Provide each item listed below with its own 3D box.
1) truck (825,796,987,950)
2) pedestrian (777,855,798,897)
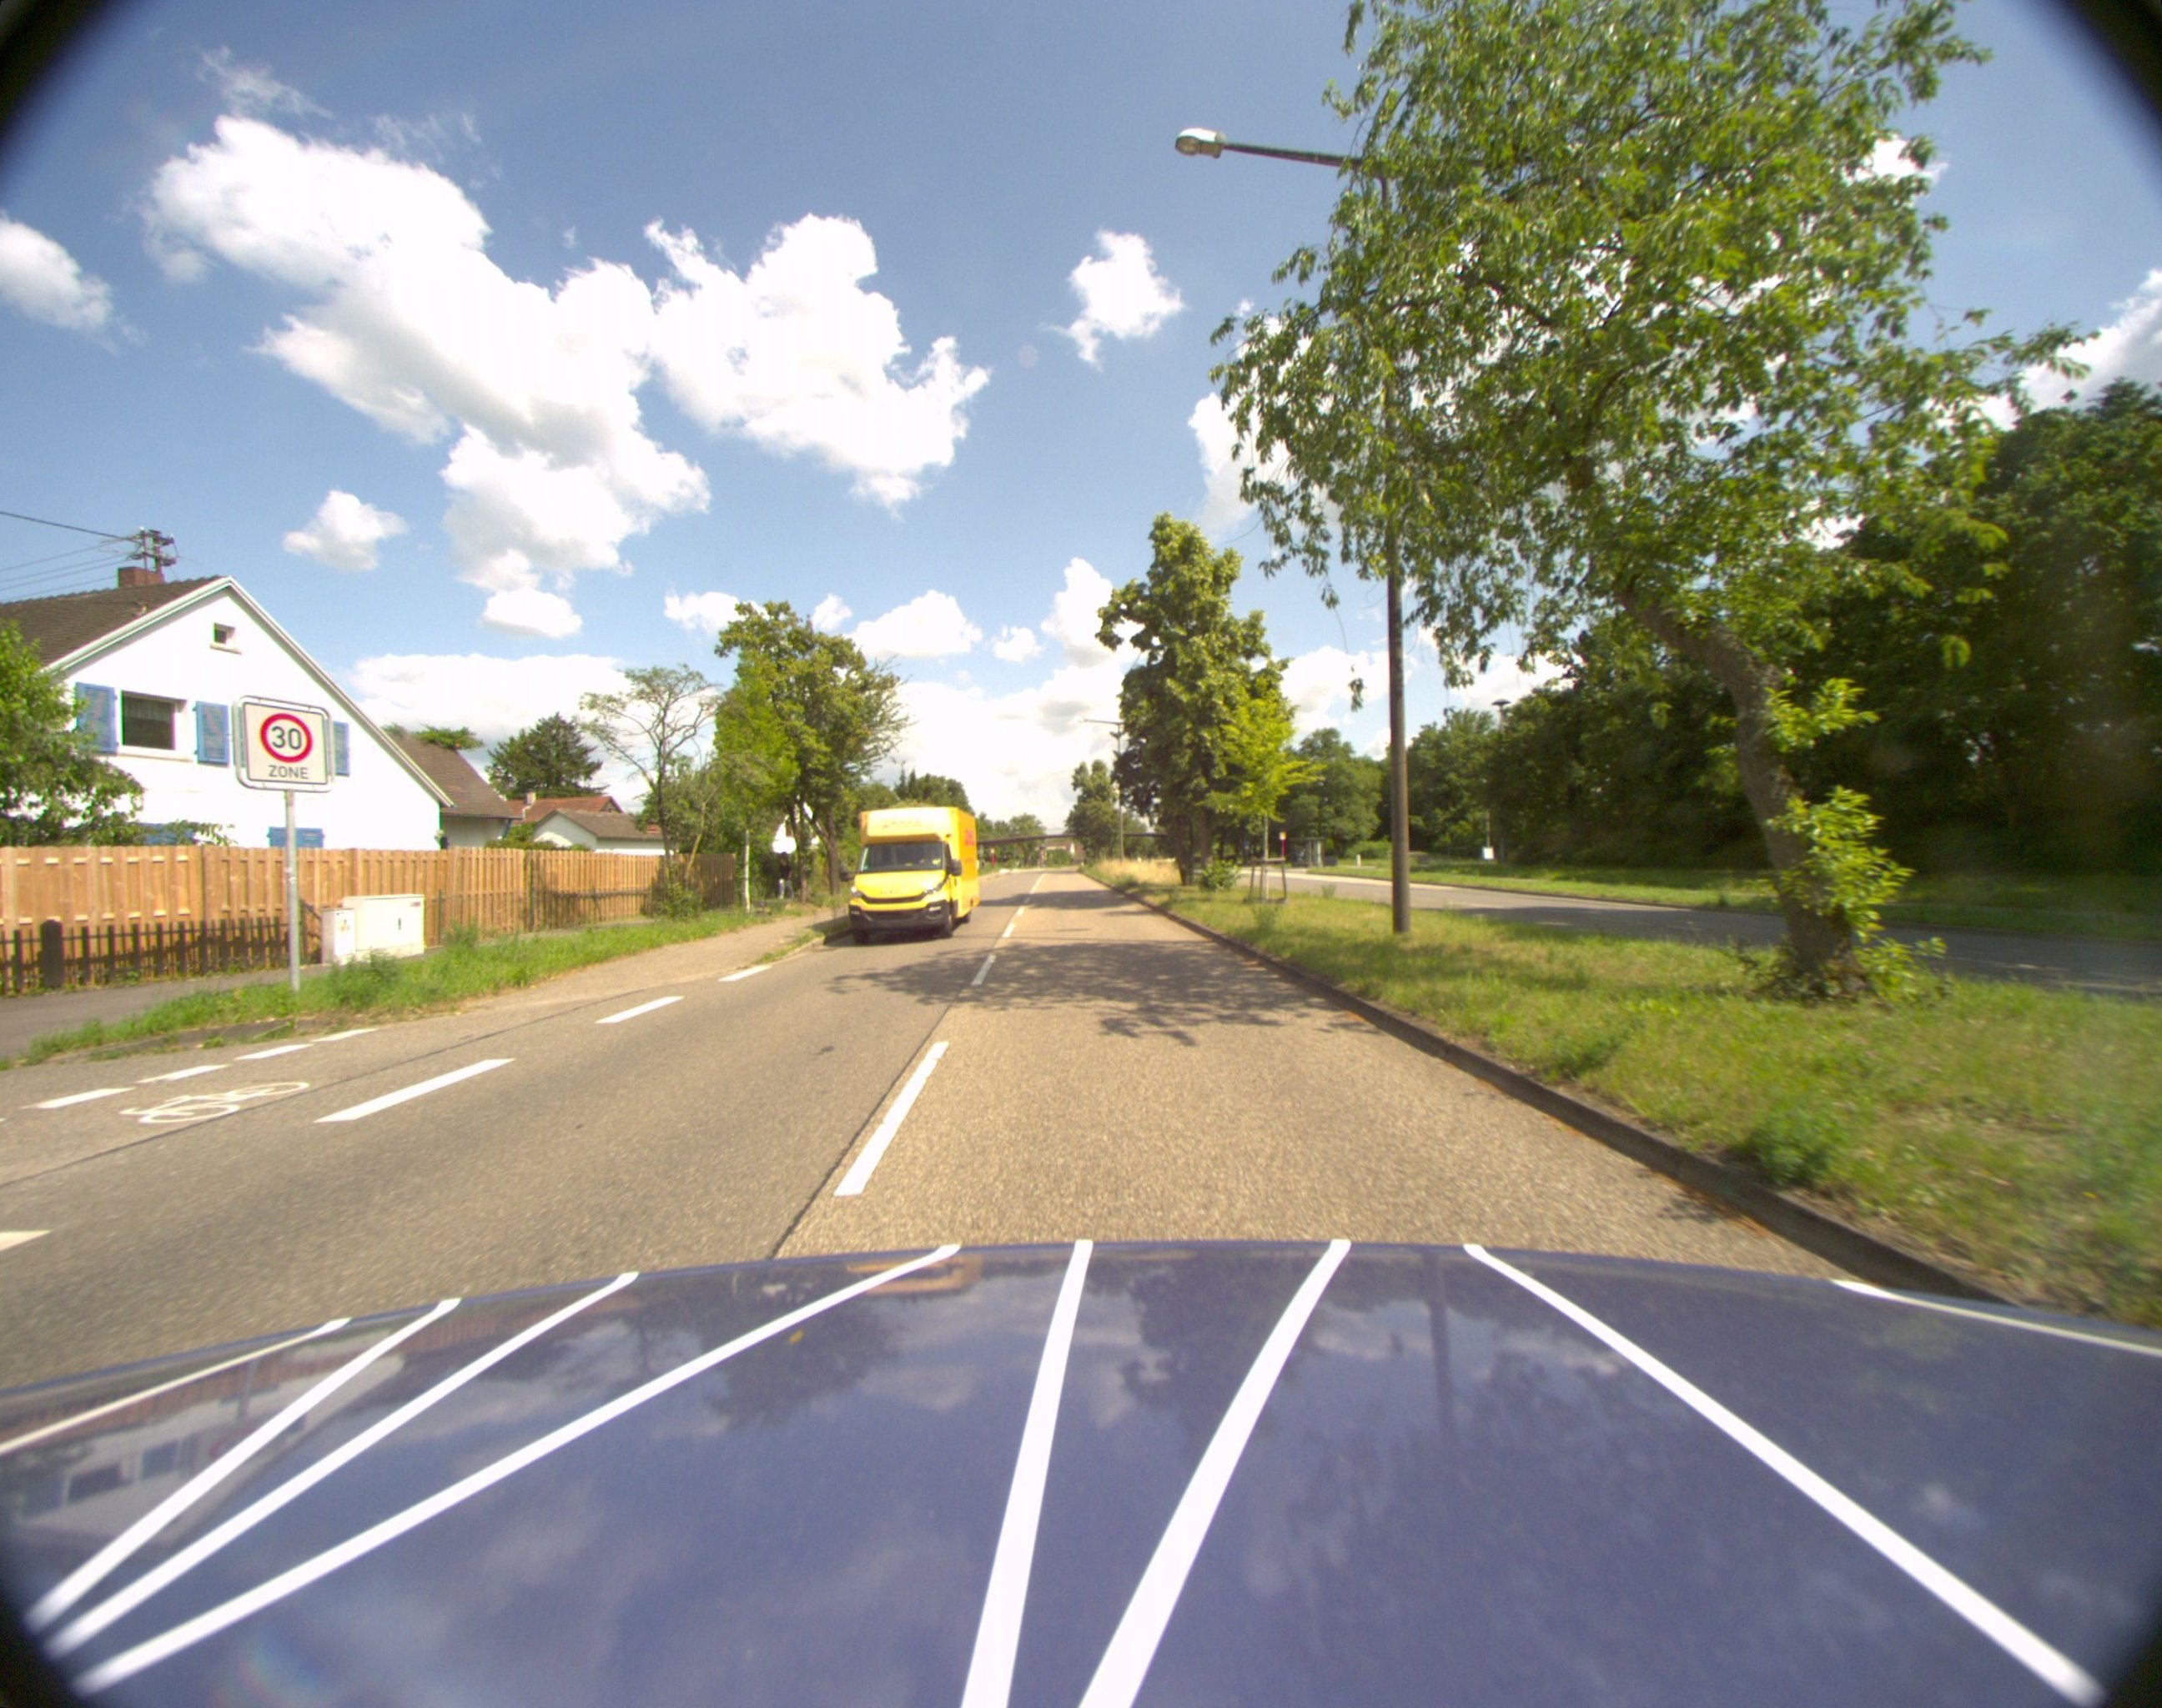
[{"bbox_3d":[-3.850,0.410,18.640,2.271,2.863,8.027,-3,-1,-2],"label":"truck"},{"bbox_3d":[-11.907,0.882,30.871,0.561,1.667,0.634,-2,1,-2],"label":"pedestrian"}]
